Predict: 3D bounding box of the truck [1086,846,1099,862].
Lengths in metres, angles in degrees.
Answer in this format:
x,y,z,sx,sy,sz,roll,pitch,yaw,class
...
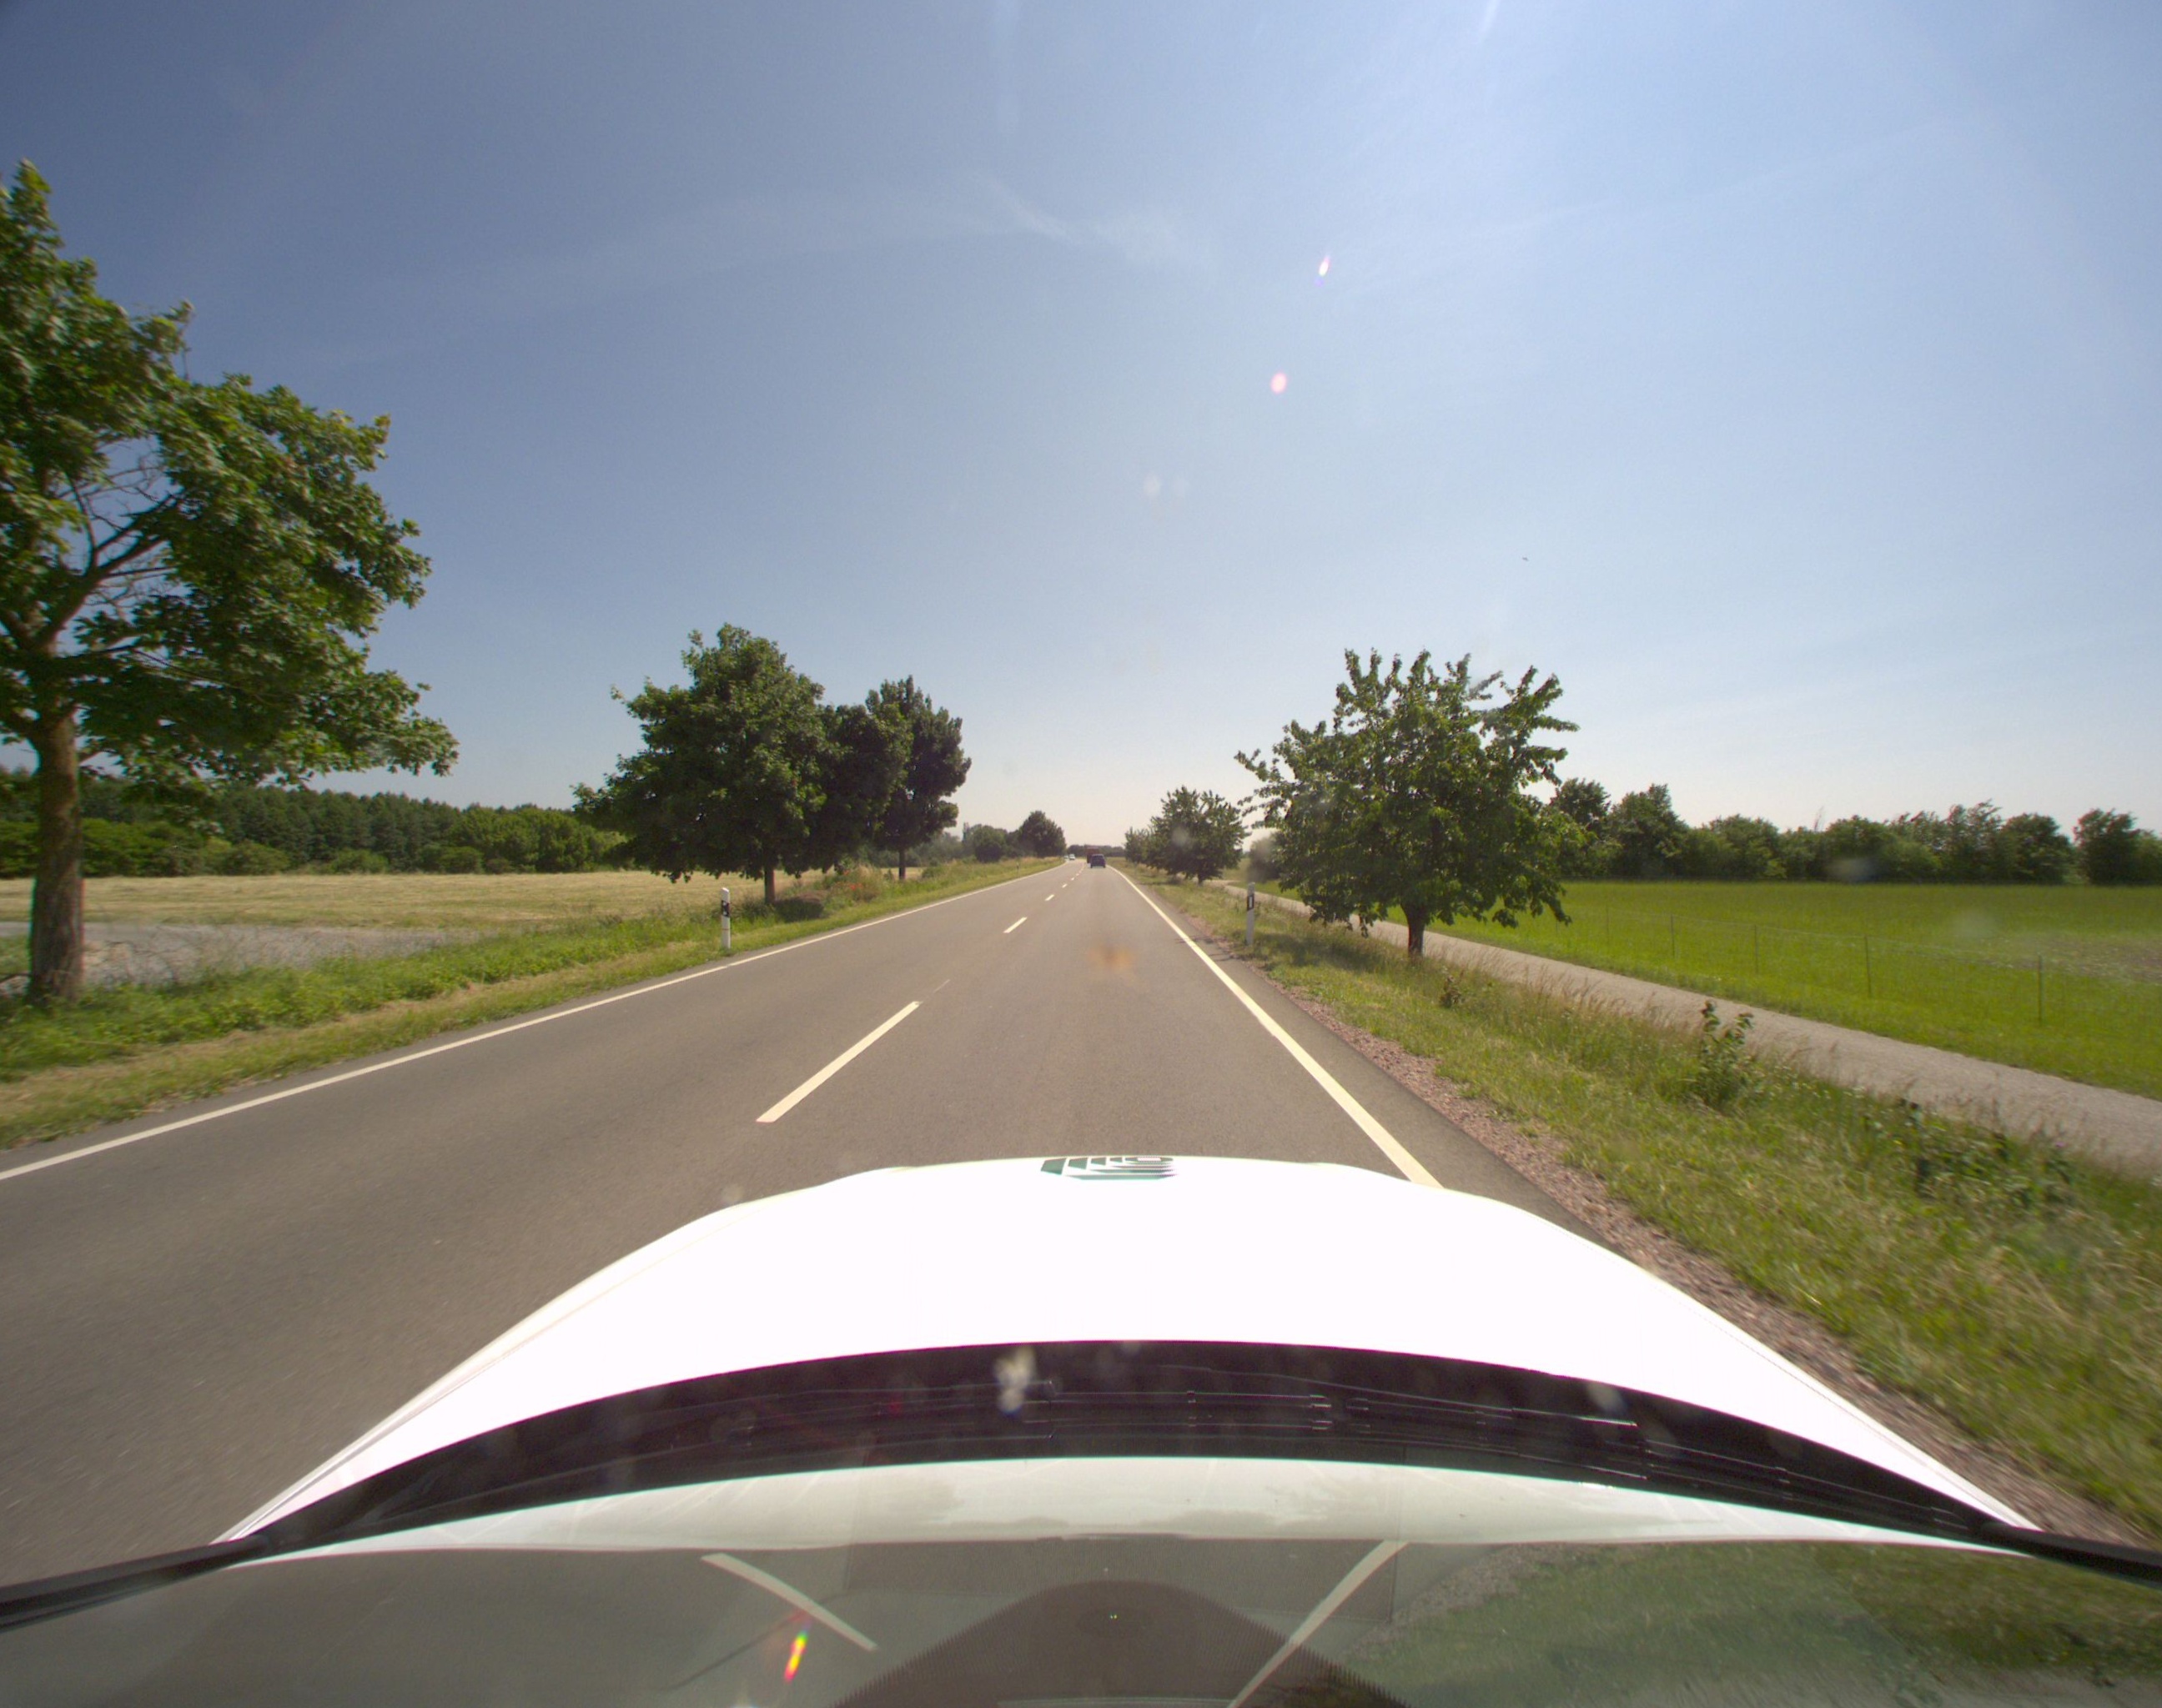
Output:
x,y,z,sx,sy,sz,roll,pitch,yaw,class
2.350,0.019,167.089,2.364,3.140,8.742,-1,-1,-1,truck

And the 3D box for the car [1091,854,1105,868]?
x,y,z,sx,sy,sz,roll,pitch,yaw,class
2.111,0.925,101.873,1.708,1.694,3.990,-1,-1,2,car
